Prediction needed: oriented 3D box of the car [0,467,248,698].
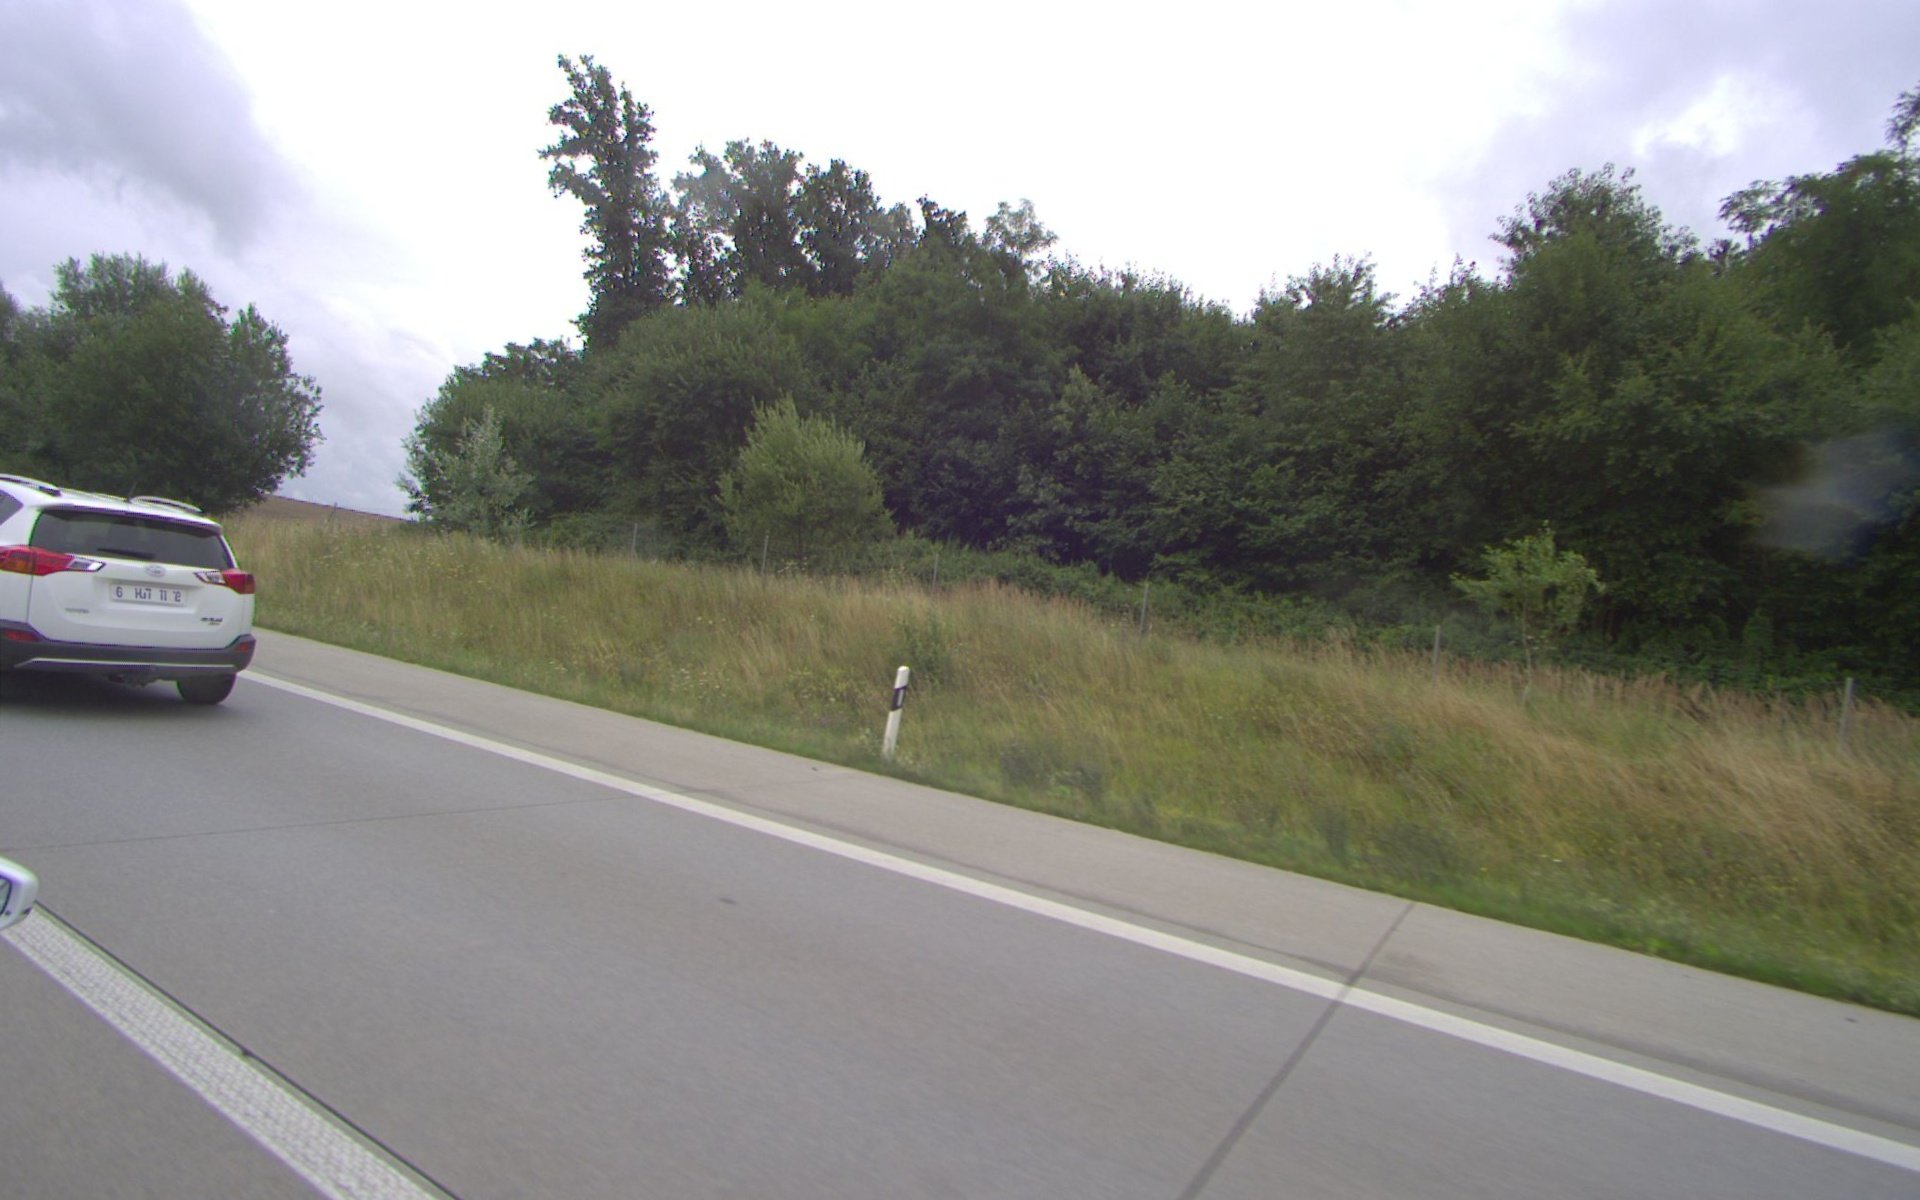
[{"bbox_3d":[-8.457,-0.264,9.031,3.918,1.674,1.829,7,-2,31],"label":"car"}]
